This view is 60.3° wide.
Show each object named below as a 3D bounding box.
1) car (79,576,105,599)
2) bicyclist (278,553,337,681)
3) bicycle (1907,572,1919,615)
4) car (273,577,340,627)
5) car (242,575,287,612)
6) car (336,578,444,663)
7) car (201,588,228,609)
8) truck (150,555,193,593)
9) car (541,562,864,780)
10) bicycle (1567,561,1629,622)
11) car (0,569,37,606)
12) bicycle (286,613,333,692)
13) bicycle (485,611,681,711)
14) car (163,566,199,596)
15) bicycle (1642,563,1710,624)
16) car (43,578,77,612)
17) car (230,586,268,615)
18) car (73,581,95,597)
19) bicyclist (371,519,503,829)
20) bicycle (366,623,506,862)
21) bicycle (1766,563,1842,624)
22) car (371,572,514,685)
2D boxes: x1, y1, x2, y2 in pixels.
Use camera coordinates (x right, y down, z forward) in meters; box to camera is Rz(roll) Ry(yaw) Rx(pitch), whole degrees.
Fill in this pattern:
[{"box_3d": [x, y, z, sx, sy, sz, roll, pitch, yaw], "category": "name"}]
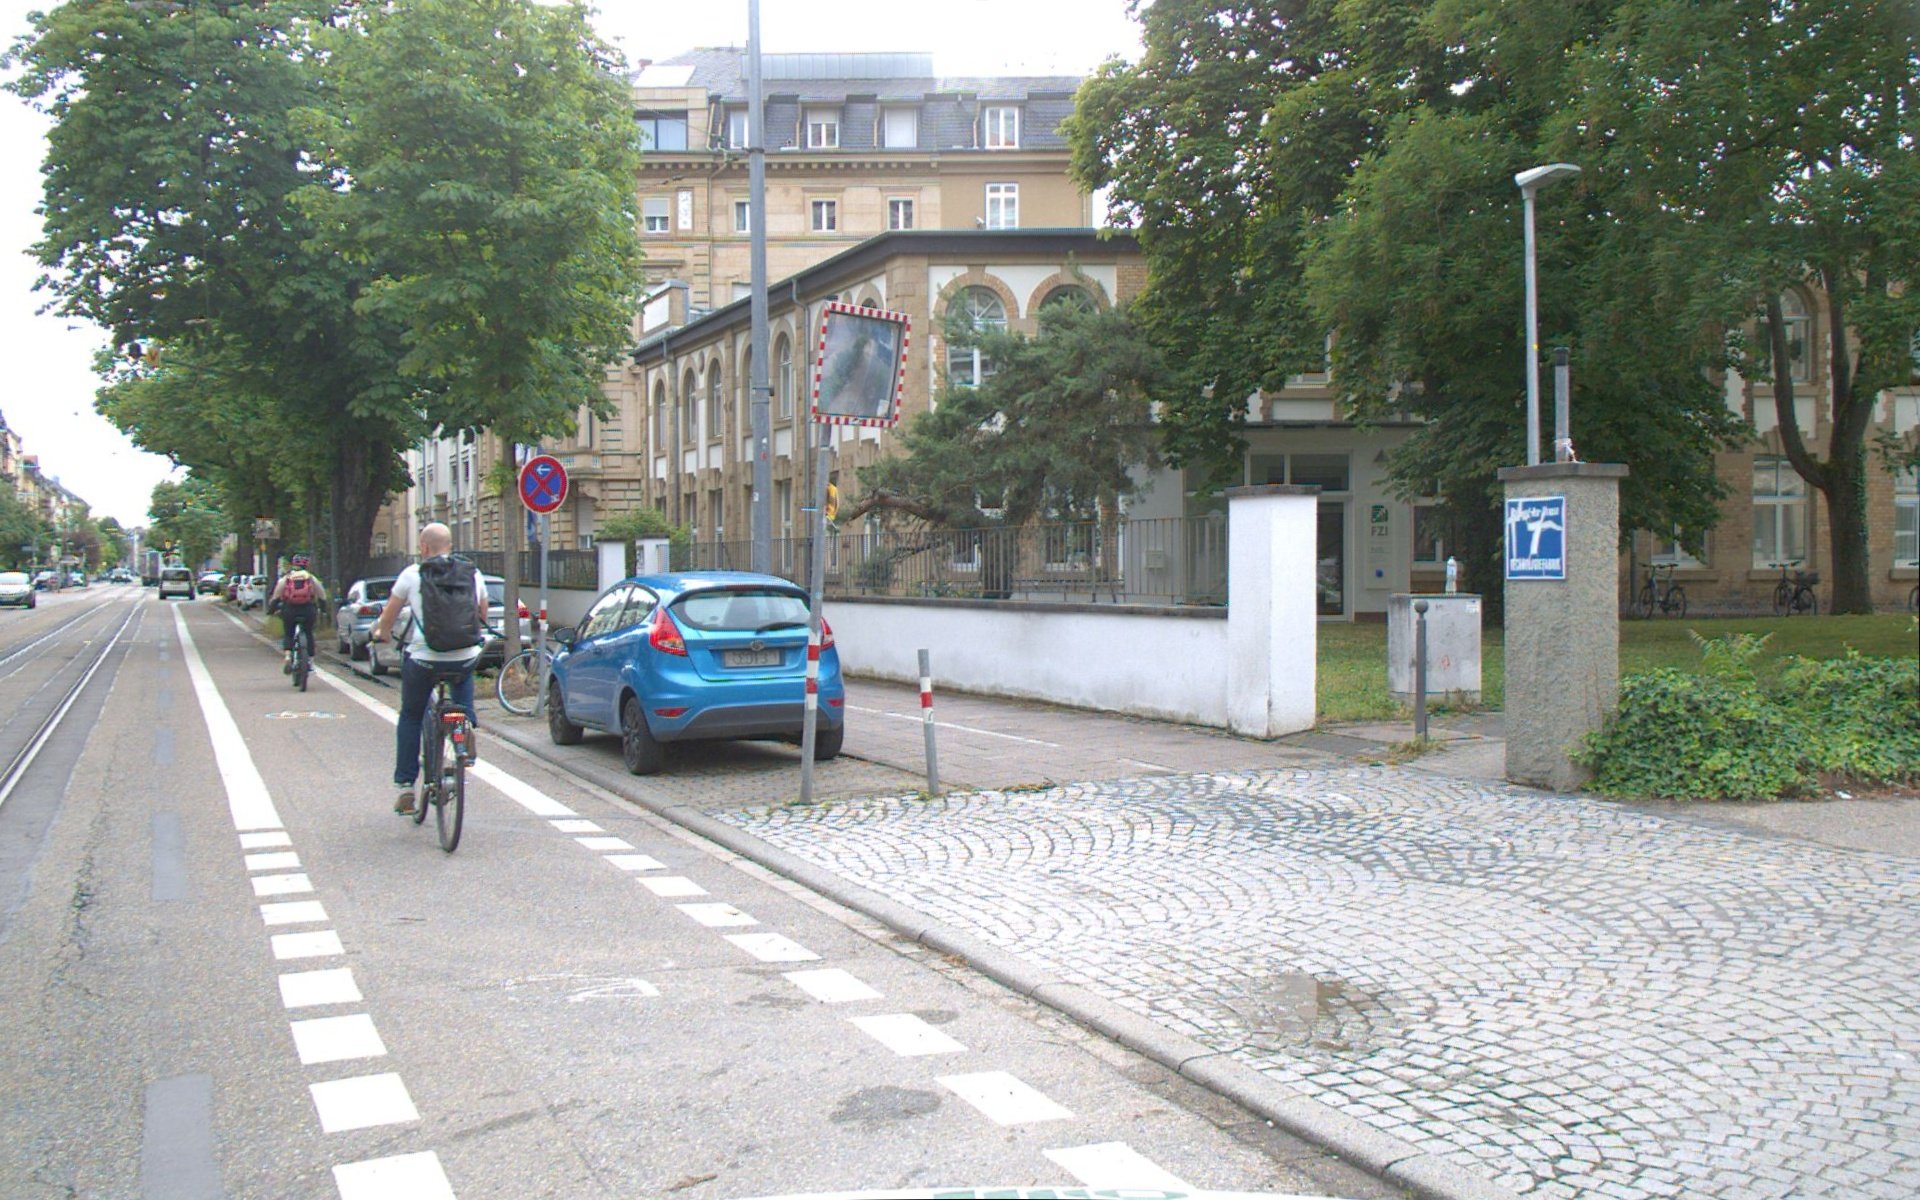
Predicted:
[{"box_3d": [-86.425, -1.269, 164.704, 2.178, 2.294, 3.967, -1, 1, -26], "category": "car"}, {"box_3d": [-8.571, 0.209, 21.711, 0.649, 1.638, 0.913, -1, 1, -25], "category": "bicyclist"}, {"box_3d": [19.199, -0.116, 32.224, 0.604, 0.828, 1.946, -1, 1, 7], "category": "bicycle"}, {"box_3d": [-20.018, 0.031, 50.591, 1.768, 1.423, 3.767, -1, 1, -24], "category": "car"}, {"box_3d": [-28.404, -0.302, 67.530, 1.645, 1.423, 3.634, -1, 1, -24], "category": "car"}, {"box_3d": [-10.531, 0.335, 30.448, 1.457, 1.453, 3.535, 0, 1, -26], "category": "car"}, {"box_3d": [-54.193, -0.125, 120.250, 1.747, 1.423, 3.767, -1, 1, -24], "category": "car"}, {"box_3d": [-89.010, -2.943, 186.592, 3.766, 4.099, 10.120, -1, 1, -29], "category": "truck"}, {"box_3d": [-2.219, 0.462, 13.558, 1.654, 1.486, 3.403, -2, 2, -26], "category": "car"}, {"box_3d": [12.501, -0.187, 32.463, 0.604, 1.139, 2.223, -1, 1, 7], "category": "bicycle"}, {"box_3d": [-39.532, -0.535, 69.021, 1.722, 1.453, 3.961, -1, 1, -29], "category": "car"}, {"box_3d": [-8.612, 0.670, 21.873, 0.483, 0.997, 2.041, 0, 0, -24], "category": "bicycle"}, {"box_3d": [-4.038, 0.636, 17.793, 1.991, 0.973, 0.528, -1, 1, -30], "category": "bicycle"}, {"box_3d": [-46.092, -1.112, 97.941, 1.788, 1.738, 3.672, 0, 0, -23], "category": "car"}, {"box_3d": [13.912, -0.150, 32.189, 0.604, 1.139, 2.223, -1, 1, 7], "category": "bicycle"}, {"box_3d": [-67.957, -0.412, 124.941, 2.180, 2.459, 3.964, -1, 1, -28], "category": "car"}, {"box_3d": [-36.909, 0.000, 85.878, 1.747, 1.423, 3.767, -1, 1, -24], "category": "car"}, {"box_3d": [-94.372, -1.180, 178.216, 1.748, 1.672, 3.542, -1, 1, -22], "category": "car"}, {"box_3d": [-2.870, 0.374, 9.080, 0.652, 1.597, 0.981, 0, 1, -18], "category": "bicyclist"}, {"box_3d": [-2.931, 0.732, 9.252, 0.654, 1.136, 1.857, 1, 1, -18], "category": "bicycle"}, {"box_3d": [16.442, -0.151, 32.264, 0.604, 1.139, 2.223, -1, 1, 7], "category": "bicycle"}, {"box_3d": [-7.575, 0.352, 24.032, 1.457, 1.506, 3.535, 0, 1, -26], "category": "car"}]
